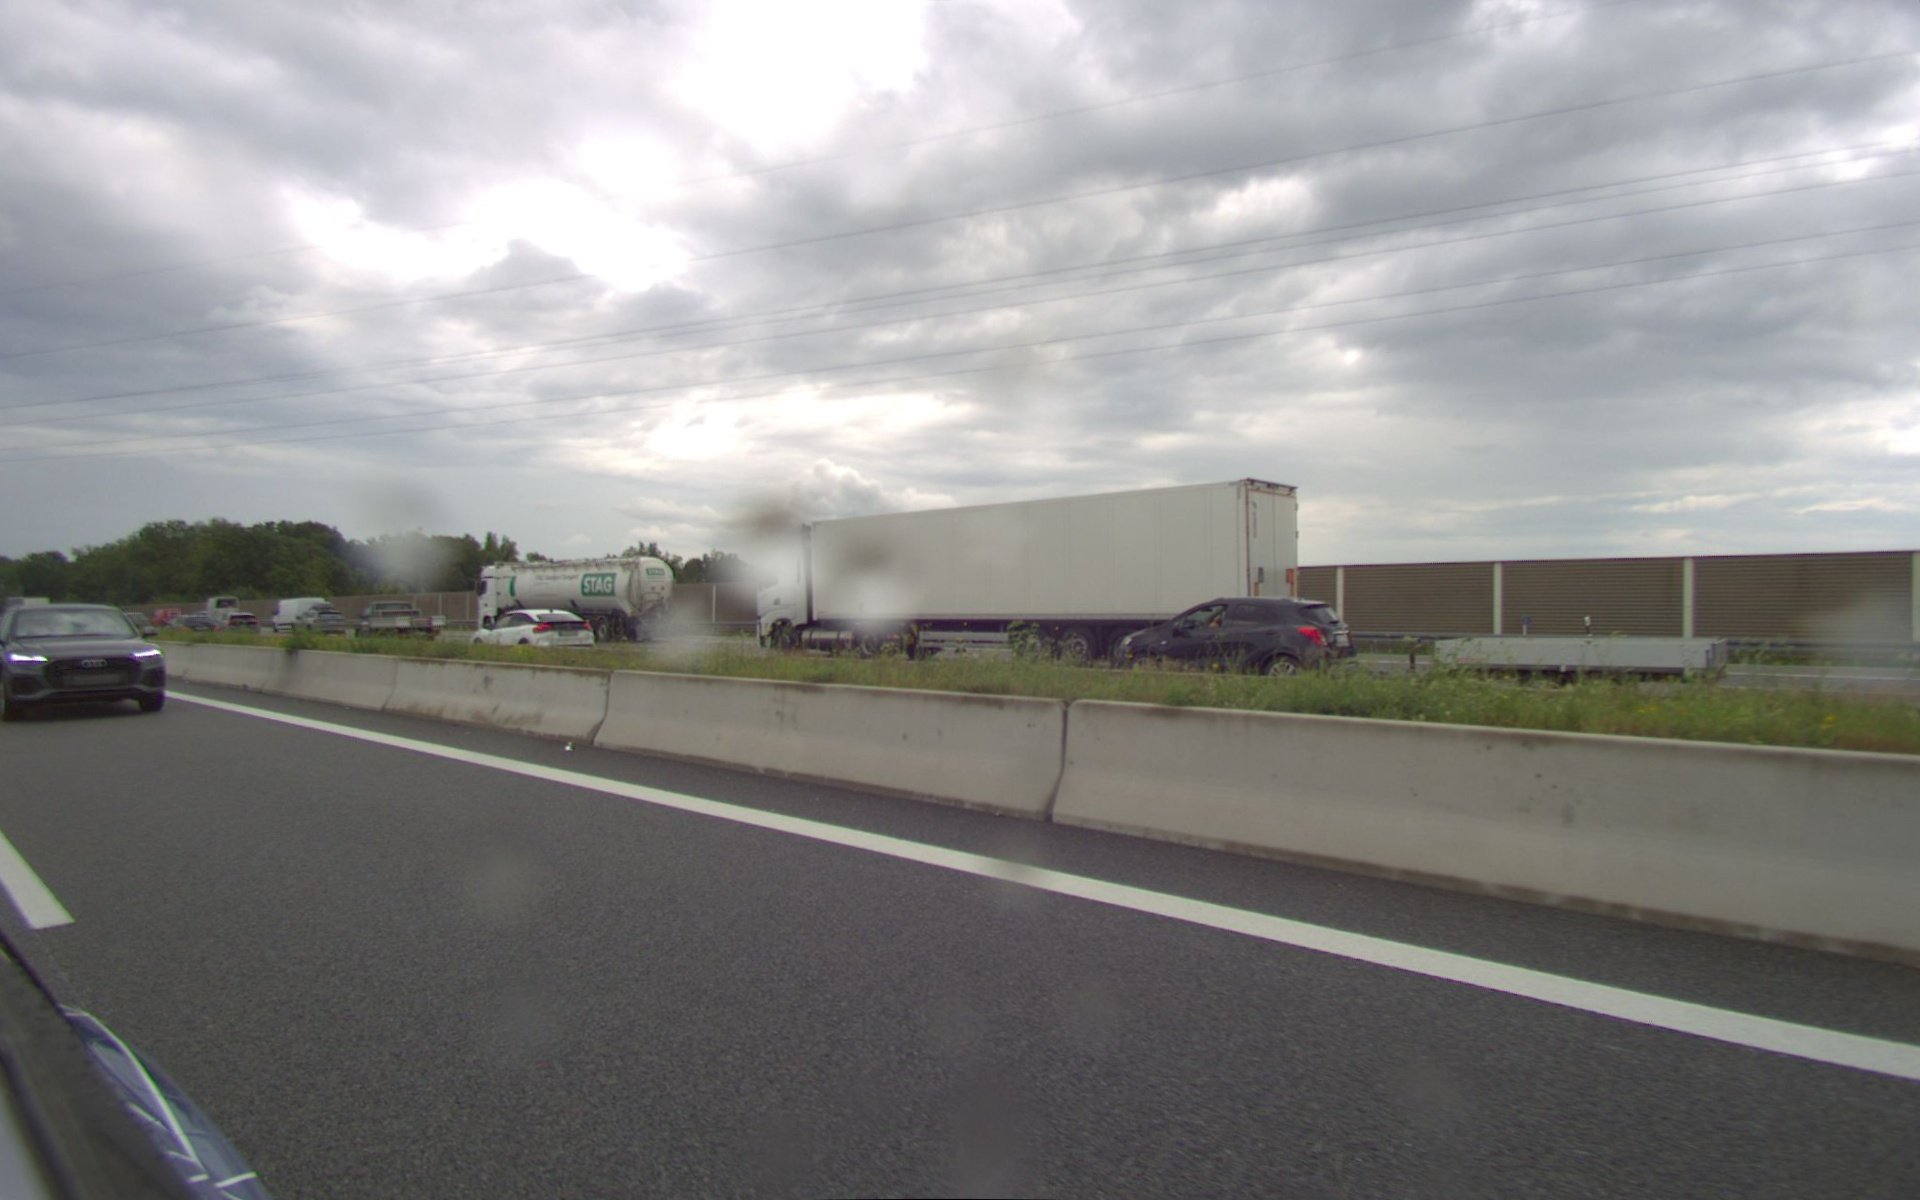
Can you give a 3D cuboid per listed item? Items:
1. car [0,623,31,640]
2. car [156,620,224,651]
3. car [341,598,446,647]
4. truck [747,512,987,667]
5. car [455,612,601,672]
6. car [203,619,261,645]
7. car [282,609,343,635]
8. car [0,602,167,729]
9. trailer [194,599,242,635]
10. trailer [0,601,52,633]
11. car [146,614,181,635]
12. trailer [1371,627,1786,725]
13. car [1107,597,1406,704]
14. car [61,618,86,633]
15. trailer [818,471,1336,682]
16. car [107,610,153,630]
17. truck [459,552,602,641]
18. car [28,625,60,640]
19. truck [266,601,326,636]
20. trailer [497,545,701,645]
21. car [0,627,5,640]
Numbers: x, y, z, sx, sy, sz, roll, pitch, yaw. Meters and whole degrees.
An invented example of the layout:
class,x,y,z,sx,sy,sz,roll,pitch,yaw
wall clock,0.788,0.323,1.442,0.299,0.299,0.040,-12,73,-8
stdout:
class,x,y,z,sx,sy,sz,roll,pitch,yaw
car,-88.512,2.947,94.586,4.939,1.465,1.808,-1,0,40
car,-39.068,1.763,51.335,4.561,1.465,1.769,-1,0,40
car,-25.112,0.990,44.723,6.086,1.983,2.256,-1,0,43
truck,-2.871,-0.258,30.225,6.522,4.078,3.622,-1,0,42
car,-11.778,1.090,27.454,4.561,1.465,1.769,-1,0,40
car,-43.908,1.890,60.970,4.561,1.465,1.769,-1,0,40
car,-38.630,1.322,60.345,4.561,1.480,1.769,-1,0,40
car,-14.253,0.923,16.020,5.168,1.704,1.888,-1,-1,43
trailer,-64.253,1.501,87.657,4.897,2.984,2.225,-1,0,40
trailer,-123.663,2.252,133.924,13.276,4.092,3.286,-1,0,40
car,-79.370,2.466,100.872,4.939,1.982,1.747,-1,0,40
trailer,8.581,0.958,14.289,4.756,1.078,2.071,-1,0,40
car,4.953,0.786,17.304,4.561,1.574,1.769,-1,0,40
car,-119.838,3.455,136.775,3.999,2.029,1.982,-1,0,42
trailer,2.181,-0.385,25.700,13.395,4.139,3.622,-1,0,42
car,-65.669,1.608,80.009,4.939,1.465,1.945,-1,0,40
truck,-22.694,-0.138,53.198,8.233,4.351,3.623,-1,0,41
car,-95.332,3.373,105.306,4.939,1.465,1.747,-1,0,40
truck,-49.612,1.351,75.565,6.260,2.470,2.081,-1,0,41
trailer,-17.705,-0.146,48.875,12.460,4.268,3.623,-1,0,41
car,-120.736,4.182,126.215,5.156,1.548,1.747,-1,0,40
